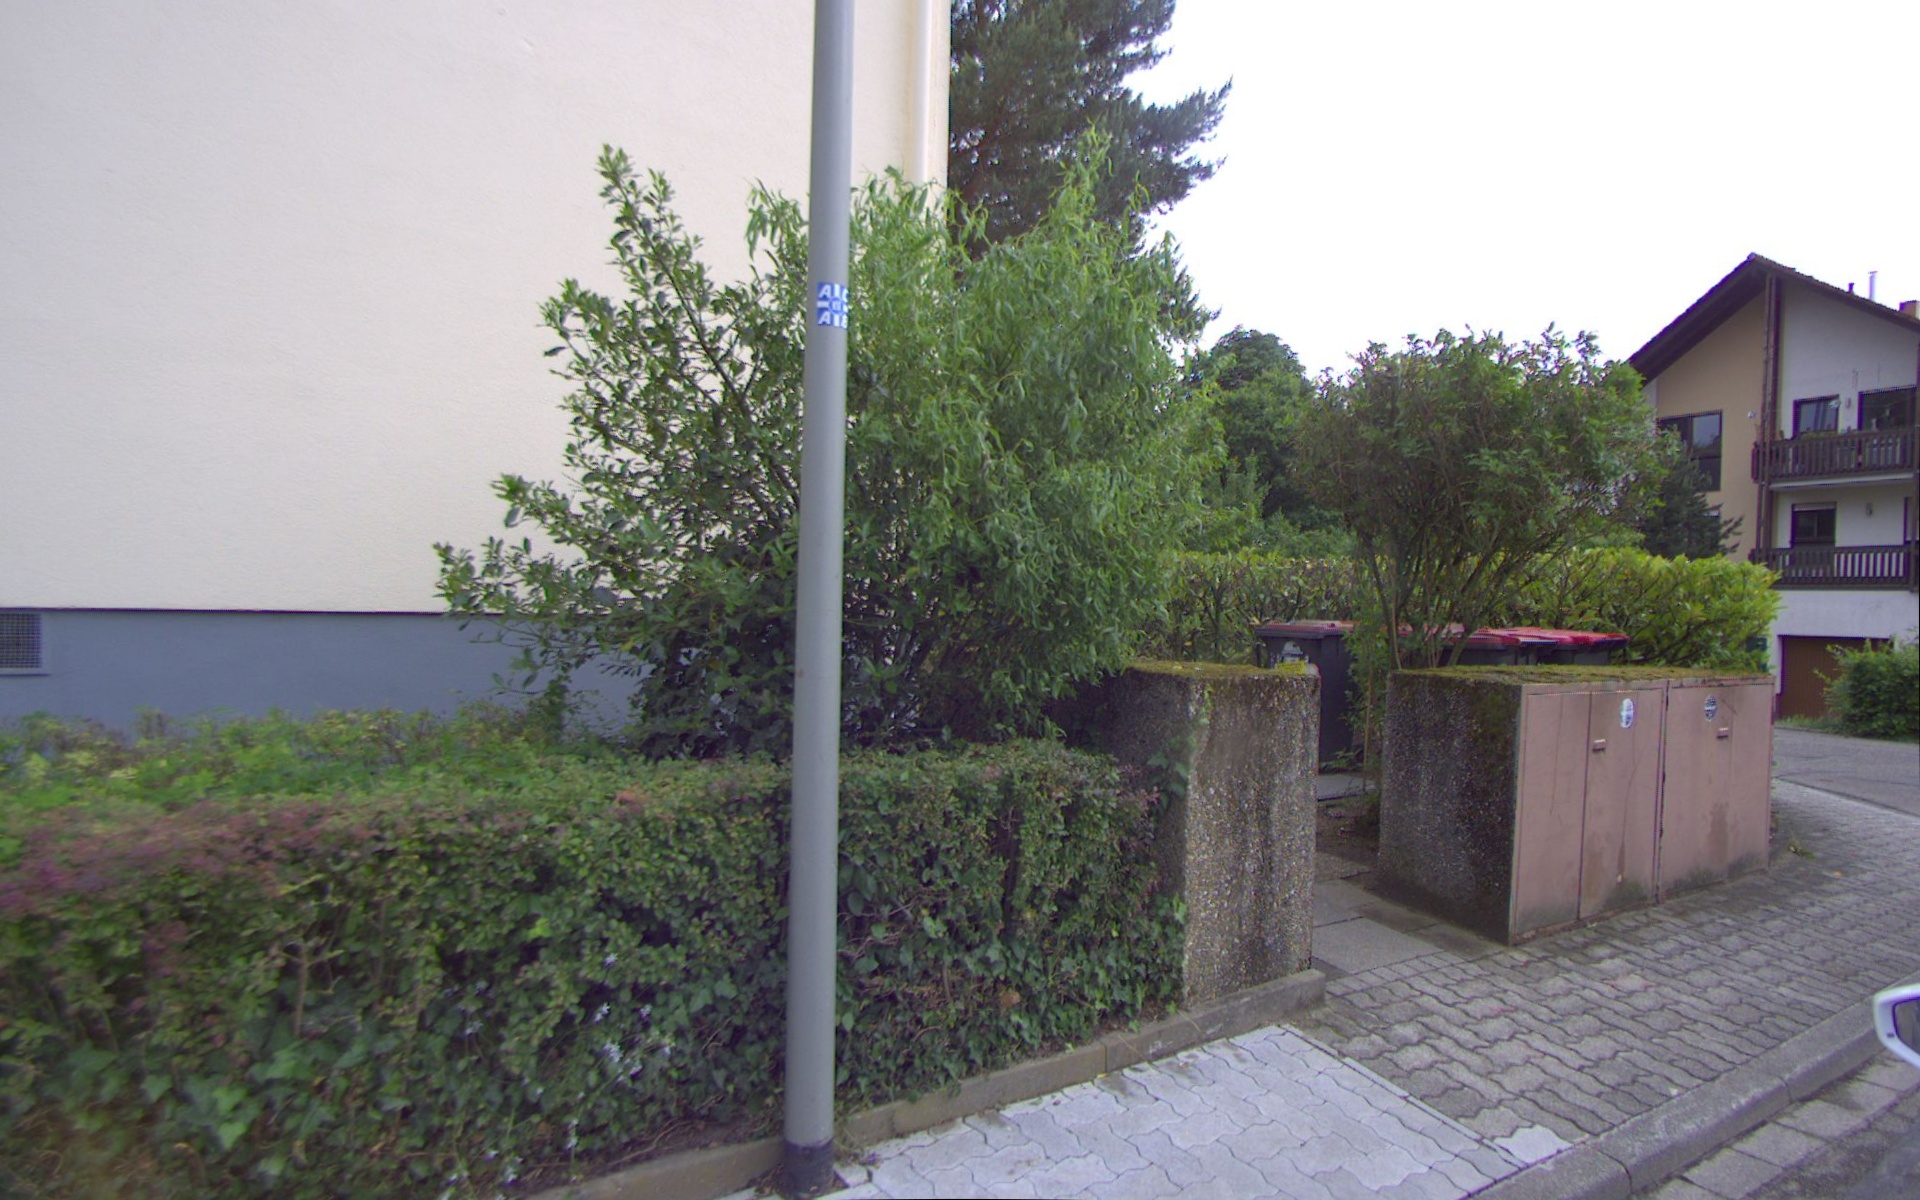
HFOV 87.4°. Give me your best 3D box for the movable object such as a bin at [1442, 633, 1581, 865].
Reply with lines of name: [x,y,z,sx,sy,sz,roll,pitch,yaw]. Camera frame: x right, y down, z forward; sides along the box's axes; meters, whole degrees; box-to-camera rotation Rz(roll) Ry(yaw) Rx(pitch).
movable object such as a bin: [3.071,0.790,5.604,0.510,1.203,0.502,1,-1,-32]

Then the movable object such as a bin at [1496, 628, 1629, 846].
movable object such as a bin: [3.543,0.768,5.912,0.510,1.203,0.502,1,-1,-32]

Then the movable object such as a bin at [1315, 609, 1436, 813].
movable object such as a bin: [2.590,0.663,6.271,0.510,1.203,0.502,1,-1,-32]

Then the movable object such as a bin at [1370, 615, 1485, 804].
movable object such as a bin: [3.084,0.691,6.636,0.510,1.180,0.502,1,-1,-32]
